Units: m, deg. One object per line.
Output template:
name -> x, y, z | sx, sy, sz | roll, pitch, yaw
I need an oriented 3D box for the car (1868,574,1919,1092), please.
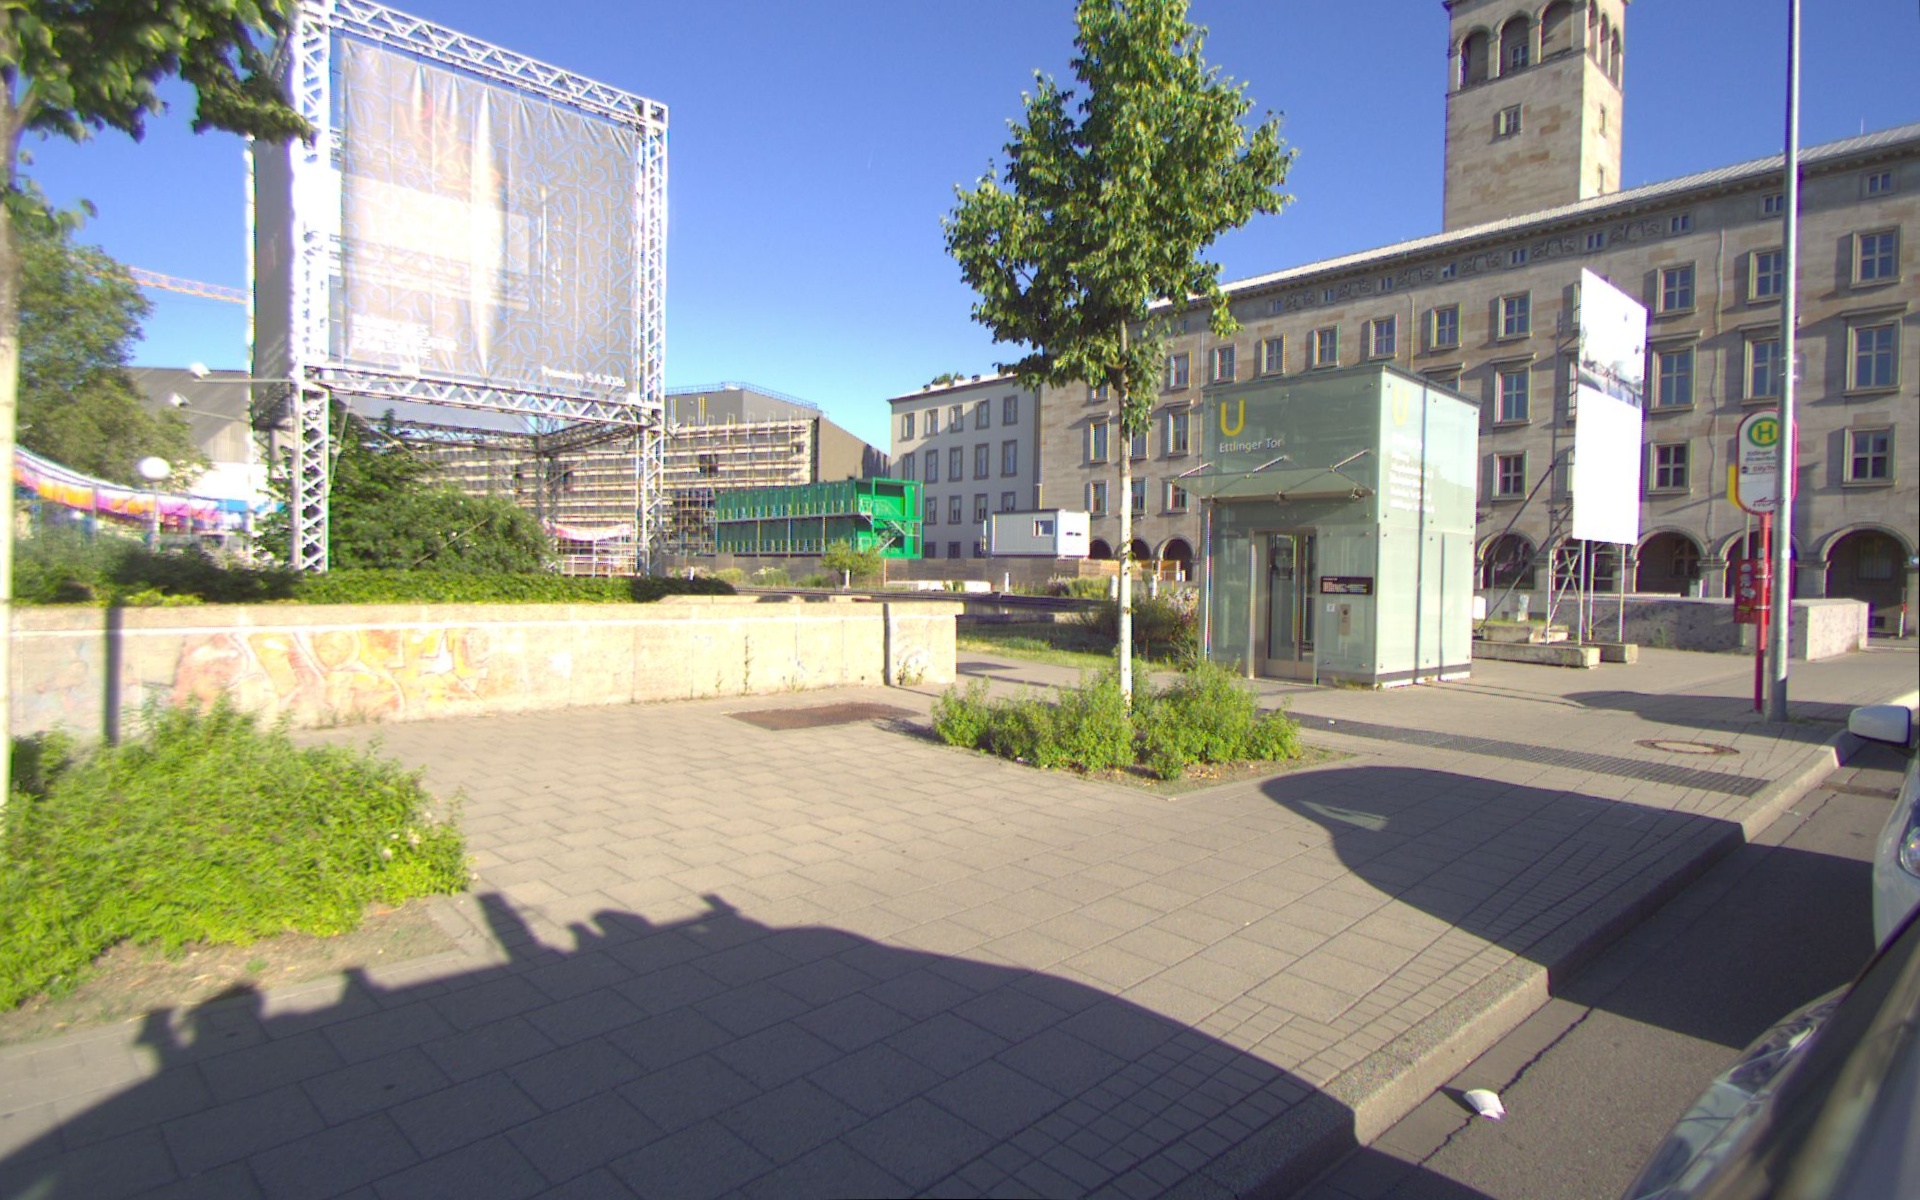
car -> 4.643, 0.678, 3.664 | 3.930, 1.473, 1.518 | 0, 2, -41
